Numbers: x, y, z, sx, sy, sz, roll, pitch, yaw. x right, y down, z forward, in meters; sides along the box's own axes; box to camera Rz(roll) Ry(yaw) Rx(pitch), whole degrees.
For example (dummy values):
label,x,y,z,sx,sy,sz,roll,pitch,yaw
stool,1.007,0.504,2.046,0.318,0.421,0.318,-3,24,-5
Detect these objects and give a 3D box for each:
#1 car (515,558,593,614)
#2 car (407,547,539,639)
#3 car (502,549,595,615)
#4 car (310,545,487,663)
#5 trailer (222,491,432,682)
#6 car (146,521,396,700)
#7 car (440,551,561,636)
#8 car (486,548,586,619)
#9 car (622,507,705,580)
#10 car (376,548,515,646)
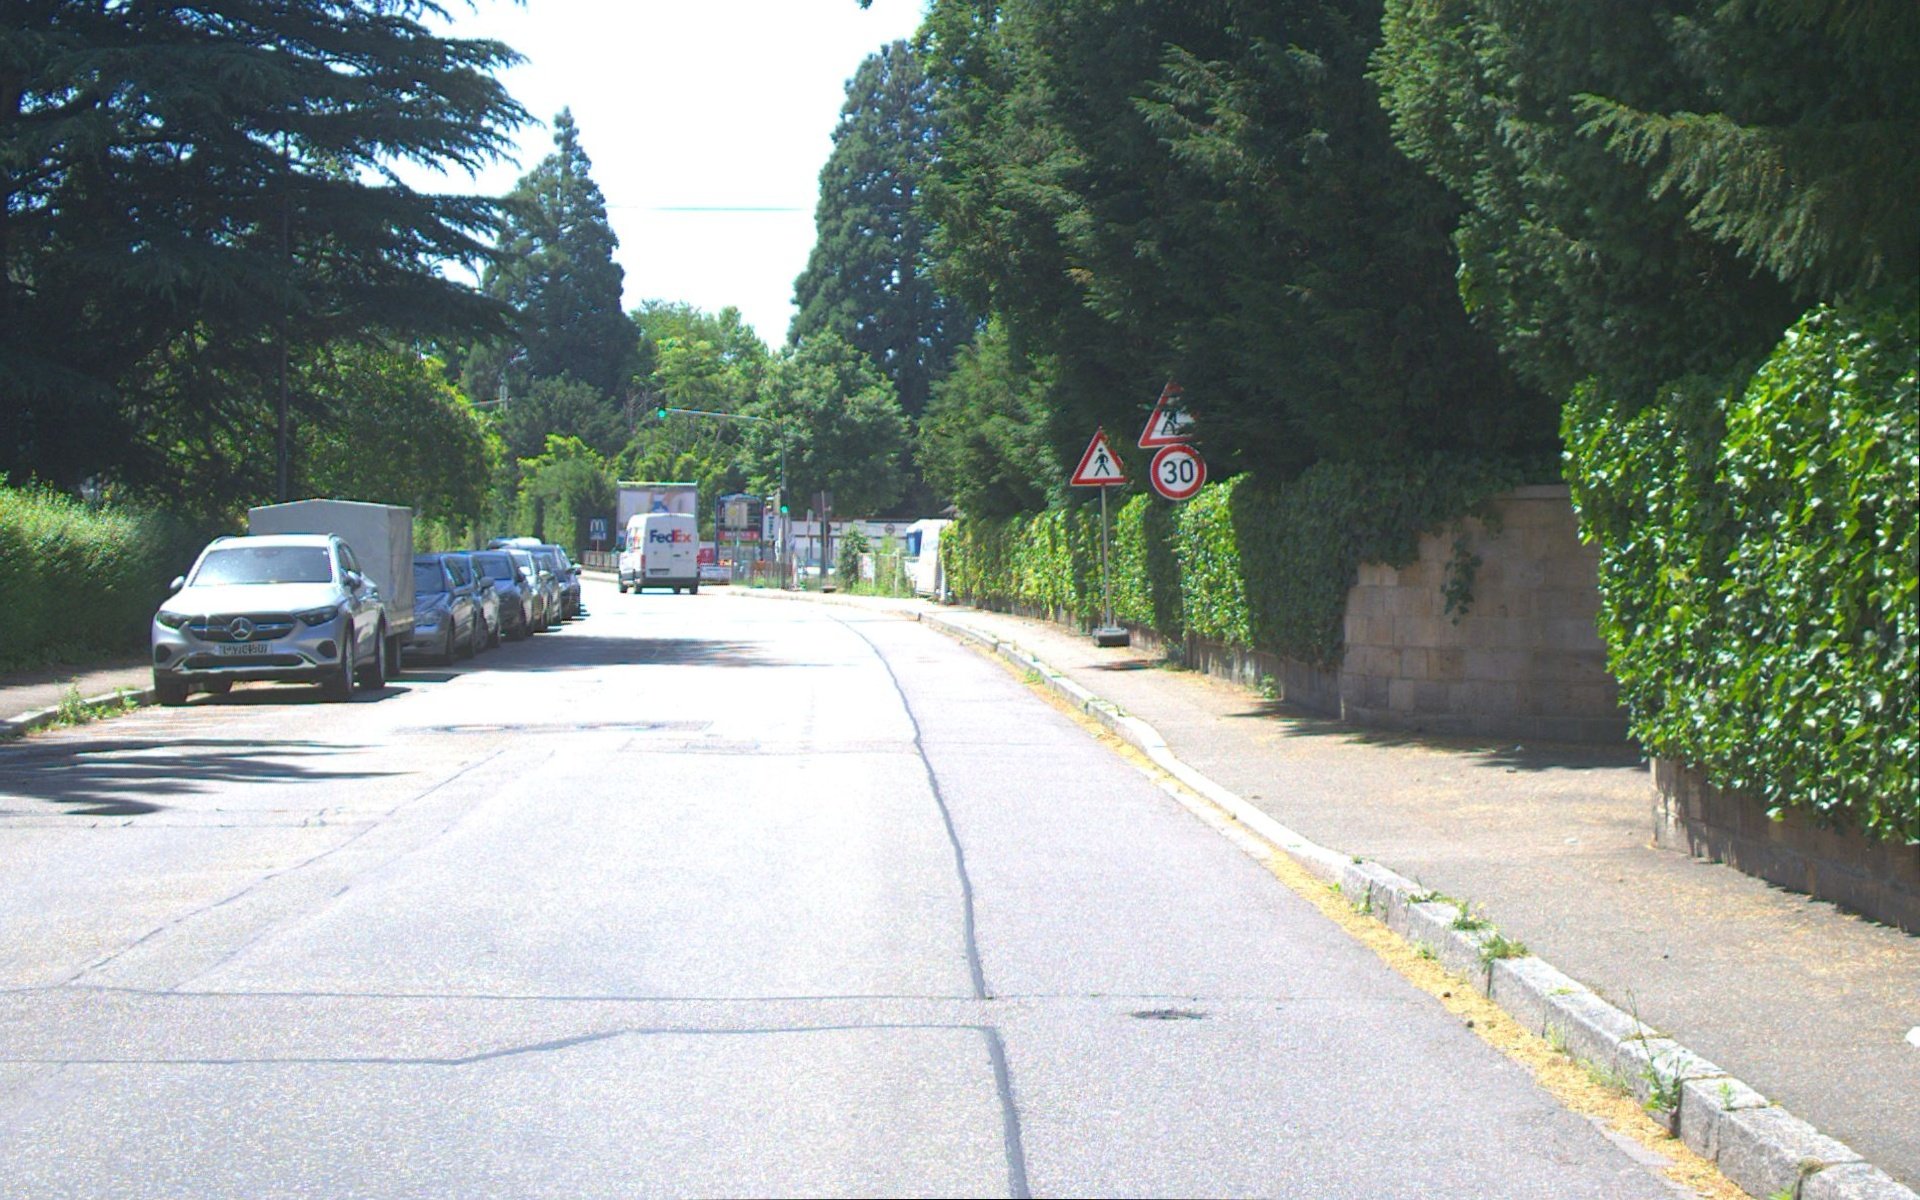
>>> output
label,x,y,z,sx,sy,sz,roll,pitch,yaw
car,-10.720,-0.392,90.938,1.688,1.439,4.136,0,1,-2
car,-7.985,-0.147,56.660,1.688,1.439,4.136,0,1,-2
car,-9.249,-0.425,77.527,1.688,1.439,4.136,0,1,-2
car,-7.336,0.022,45.250,1.709,1.434,4.322,-1,1,-2
trailer,-7.222,-0.170,39.571,1.847,2.033,4.164,-1,1,-4
car,-6.953,0.071,35.138,1.850,1.665,4.713,-1,1,-4
car,-8.146,-0.135,61.221,1.688,1.439,4.136,0,1,-2
car,-8.880,-0.369,72.227,1.688,1.439,4.136,0,1,-2
car,-9.601,-1.824,110.901,2.143,2.307,4.854,-1,1,-11
car,-7.592,-0.064,51.009,1.582,1.385,3.883,0,1,-2
